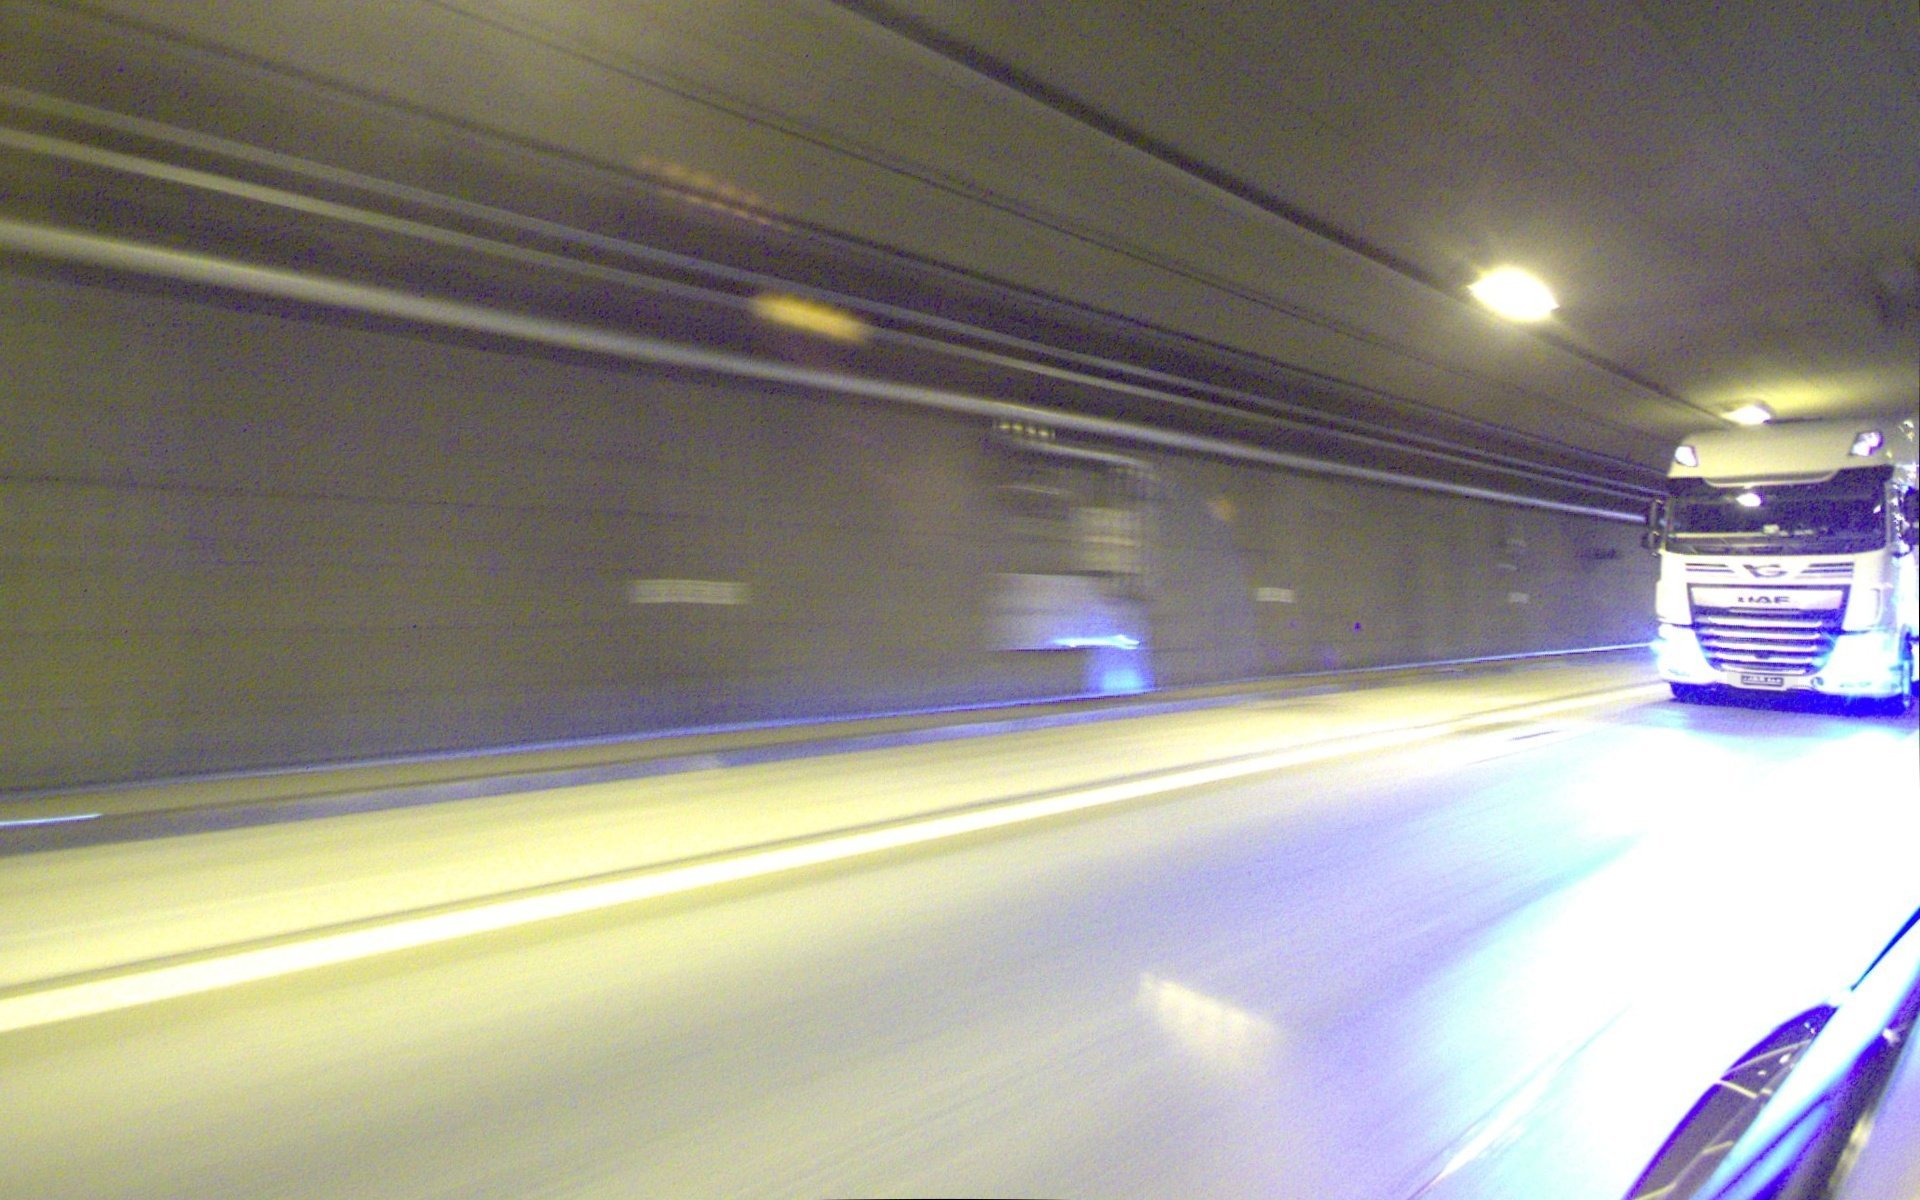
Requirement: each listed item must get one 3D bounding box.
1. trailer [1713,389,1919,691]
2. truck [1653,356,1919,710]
[{"bbox_3d":[18.033,-0.874,19.391,13.753,4.216,2.625,0,-1,-40],"label":"trailer"},{"bbox_3d":[12.781,-0.819,14.955,5.898,4.216,2.651,0,0,-40],"label":"truck"}]
